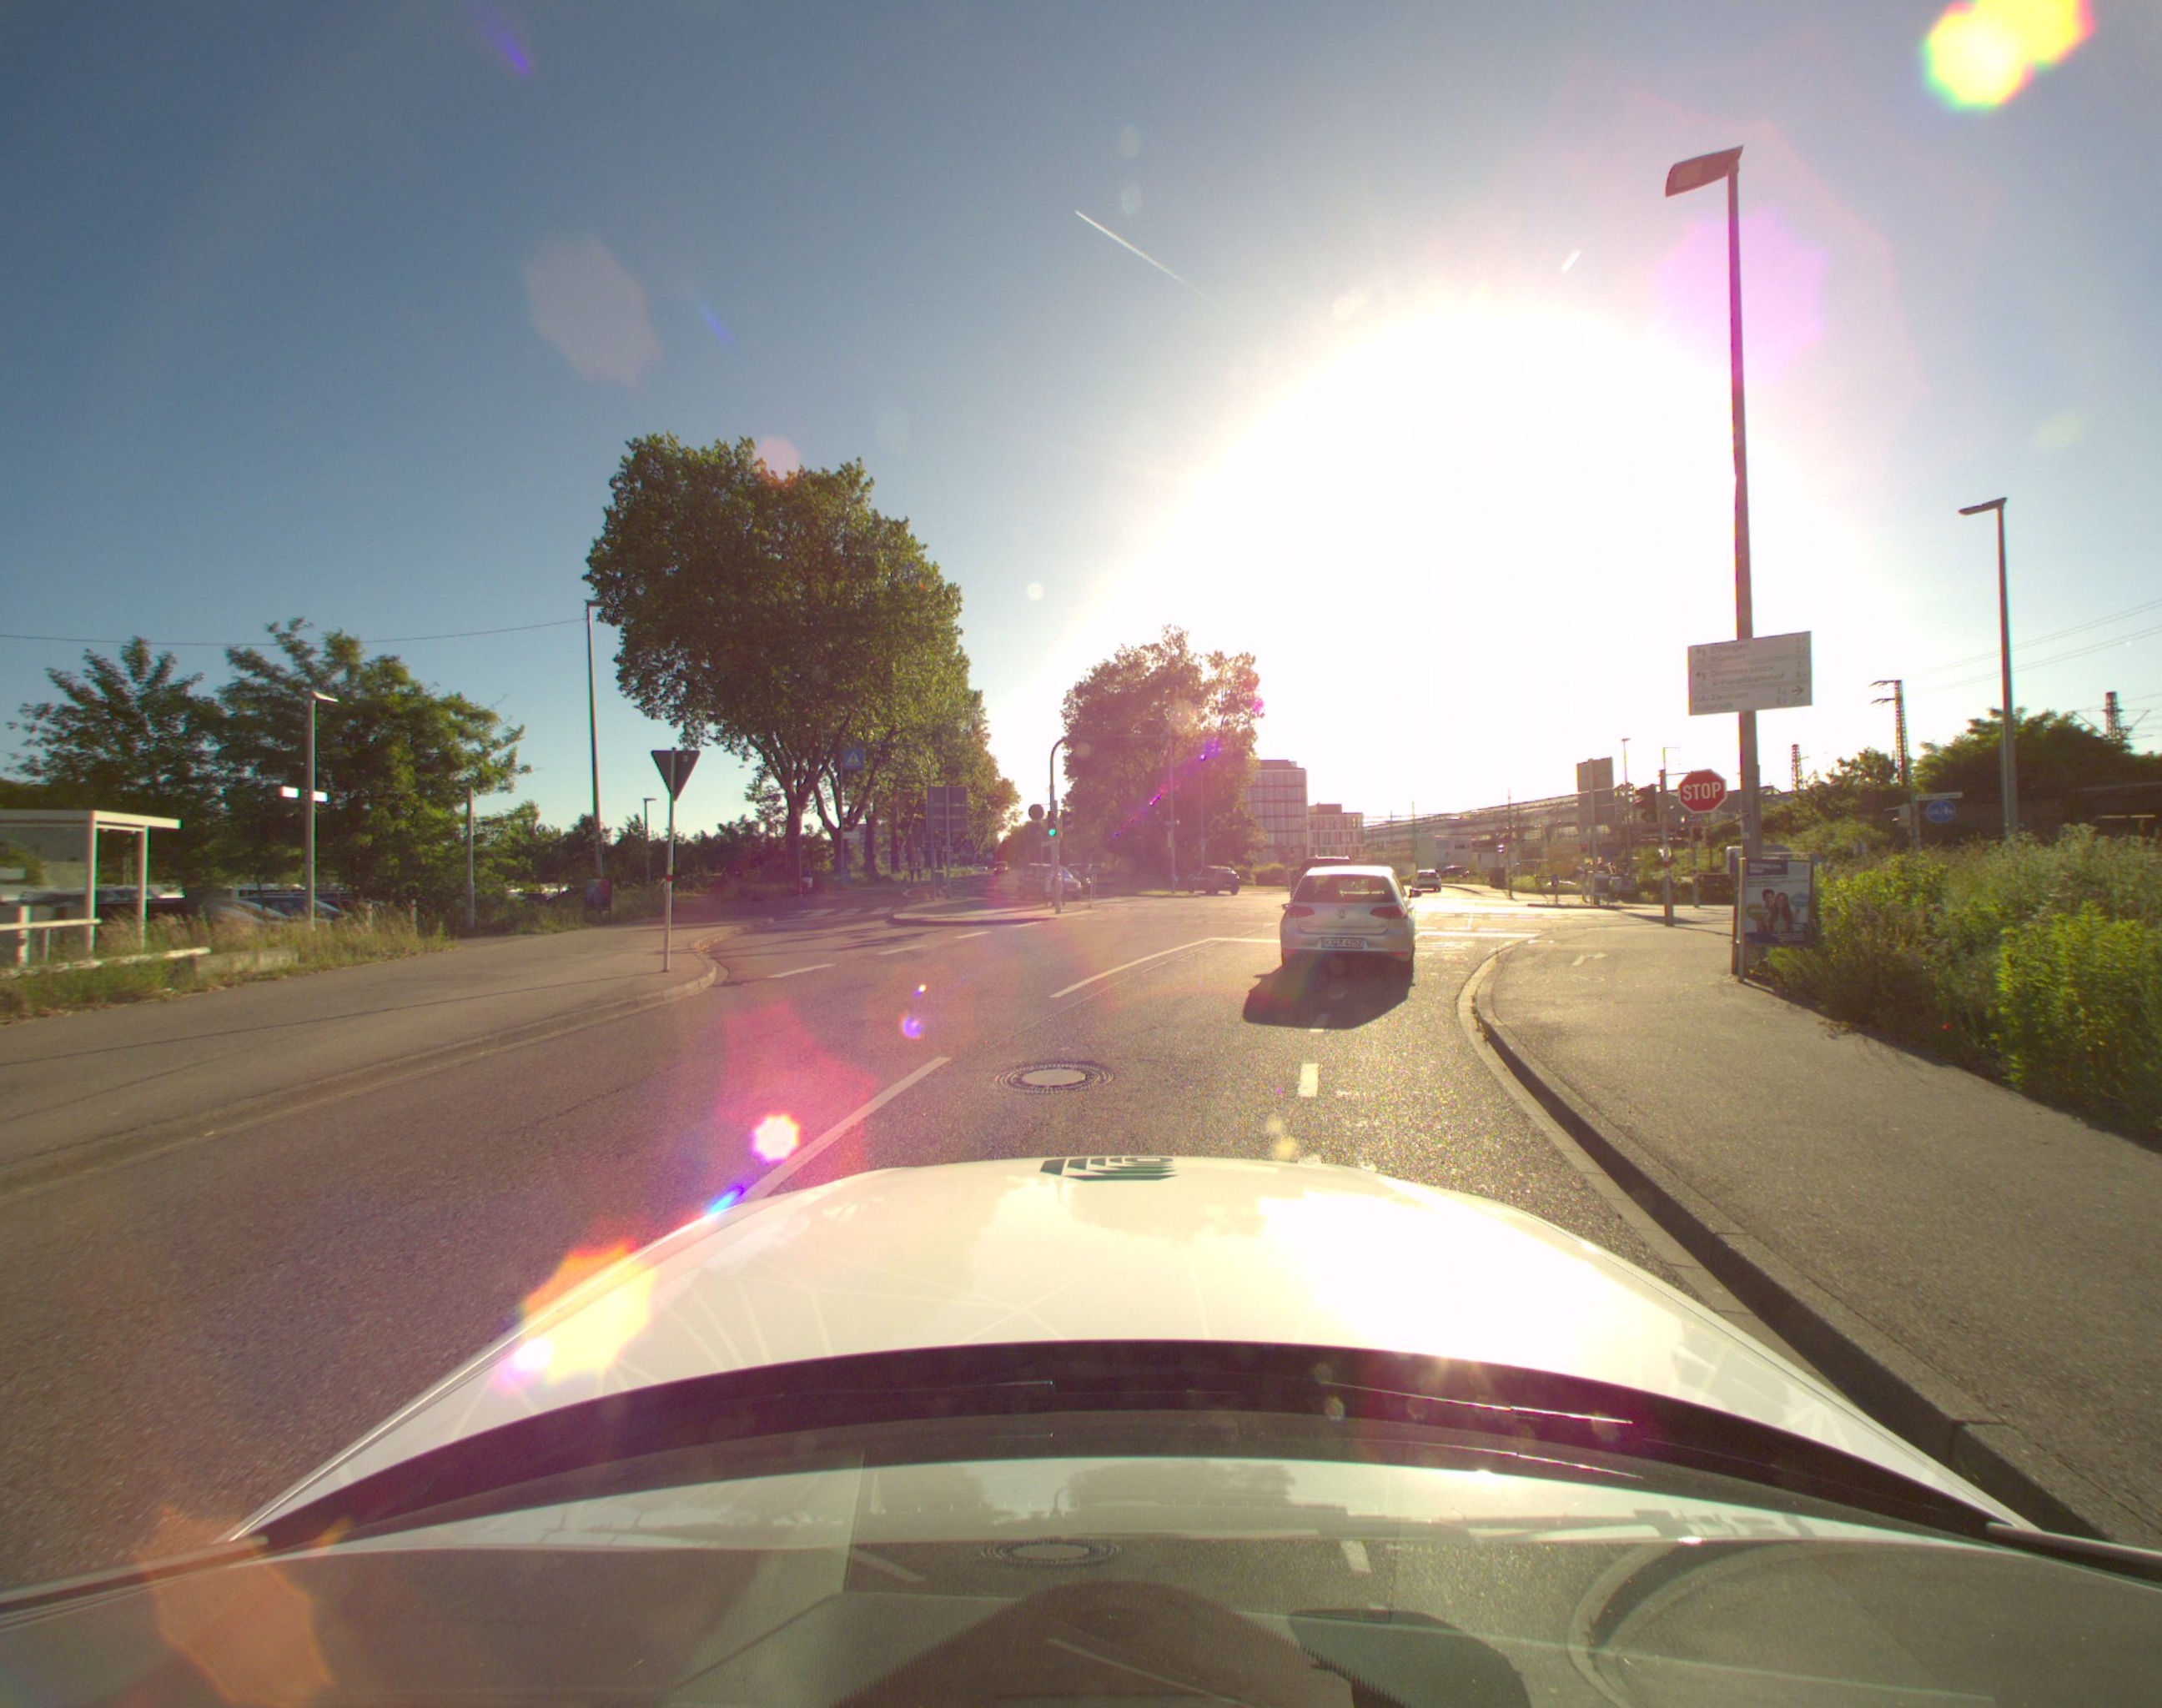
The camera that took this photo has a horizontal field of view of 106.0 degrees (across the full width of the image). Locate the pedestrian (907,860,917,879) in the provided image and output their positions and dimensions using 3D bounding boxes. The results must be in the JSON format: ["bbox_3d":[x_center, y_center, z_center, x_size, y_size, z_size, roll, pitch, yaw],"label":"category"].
[{"bbox_3d":[-14.348,1.318,69.178,0.662,1.586,0.631,0,-1,-3],"label":"pedestrian"}]

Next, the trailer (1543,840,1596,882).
[{"bbox_3d":[39.668,0.618,66.321,2.968,3.292,6.705,0,-1,25],"label":"trailer"}]

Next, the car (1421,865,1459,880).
[{"bbox_3d":[43.165,2.185,97.974,3.969,1.788,1.657,0,-1,4],"label":"car"}]

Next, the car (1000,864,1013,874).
[{"bbox_3d":[-12.246,2.447,133.807,1.849,1.599,4.320,0,-1,-3],"label":"car"}]

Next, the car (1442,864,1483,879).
[{"bbox_3d":[44.023,2.019,94.014,3.969,1.706,1.617,0,-1,4],"label":"car"}]

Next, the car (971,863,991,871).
[{"bbox_3d":[-22.013,2.884,179.035,3.996,1.640,1.989,-1,-1,-17],"label":"car"}]

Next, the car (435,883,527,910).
[{"bbox_3d":[-42.821,3.013,58.238,4.938,1.765,1.996,0,-1,-6],"label":"car"}]

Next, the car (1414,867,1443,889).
[{"bbox_3d":[24.943,1.720,58.487,1.733,1.476,4.020,-1,-1,20],"label":"car"}]

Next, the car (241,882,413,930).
[{"bbox_3d":[-25.985,1.763,28.260,4.006,1.459,1.715,0,-1,-25],"label":"car"}]

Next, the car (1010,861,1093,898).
[{"bbox_3d":[-1.430,1.149,38.049,1.929,1.636,4.076,1,-2,-36],"label":"car"}]

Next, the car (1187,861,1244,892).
[{"bbox_3d":[7.899,1.313,48.243,1.943,1.713,4.183,0,-1,-12],"label":"car"}]

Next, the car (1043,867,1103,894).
[{"bbox_3d":[-0.510,1.417,44.492,1.911,1.427,3.905,1,-1,-24],"label":"car"}]

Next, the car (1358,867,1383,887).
[{"bbox_3d":[22.913,1.803,64.507,1.734,1.476,4.018,-1,-1,18],"label":"car"}]

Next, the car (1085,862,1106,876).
[{"bbox_3d":[1.605,1.730,93.910,1.851,1.650,4.256,0,-1,-7],"label":"car"}]

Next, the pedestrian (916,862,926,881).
[{"bbox_3d":[-13.579,1.496,69.155,0.726,1.592,0.803,0,-1,-3],"label":"pedestrian"}]

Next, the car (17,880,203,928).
[{"bbox_3d":[-40.721,2.060,34.265,4.995,1.839,2.199,-1,-1,-2],"label":"car"}]

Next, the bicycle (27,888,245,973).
[{"bbox_3d":[-20.591,1.606,17.870,0.895,1.616,2.973,-1,-1,28],"label":"bicycle"}]

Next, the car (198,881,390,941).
[{"bbox_3d":[-24.776,1.733,25.853,4.012,1.683,1.823,0,-1,-30],"label":"car"}]

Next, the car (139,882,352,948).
[{"bbox_3d":[-23.997,1.703,23.626,3.863,1.665,1.994,0,-1,-30],"label":"car"}]

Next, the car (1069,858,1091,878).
[{"bbox_3d":[-0.128,1.322,77.060,1.850,1.743,4.260,0,-1,-4],"label":"car"}]

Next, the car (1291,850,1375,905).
[{"bbox_3d":[9.445,0.869,30.971,2.102,1.887,4.819,-1,-1,5],"label":"car"}]

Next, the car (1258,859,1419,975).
[{"bbox_3d":[4.006,0.816,12.290,1.953,1.427,3.957,-1,-1,22],"label":"car"}]

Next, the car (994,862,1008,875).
[{"bbox_3d":[-10.988,1.976,111.587,1.850,1.743,4.258,-1,-1,-5],"label":"car"}]
